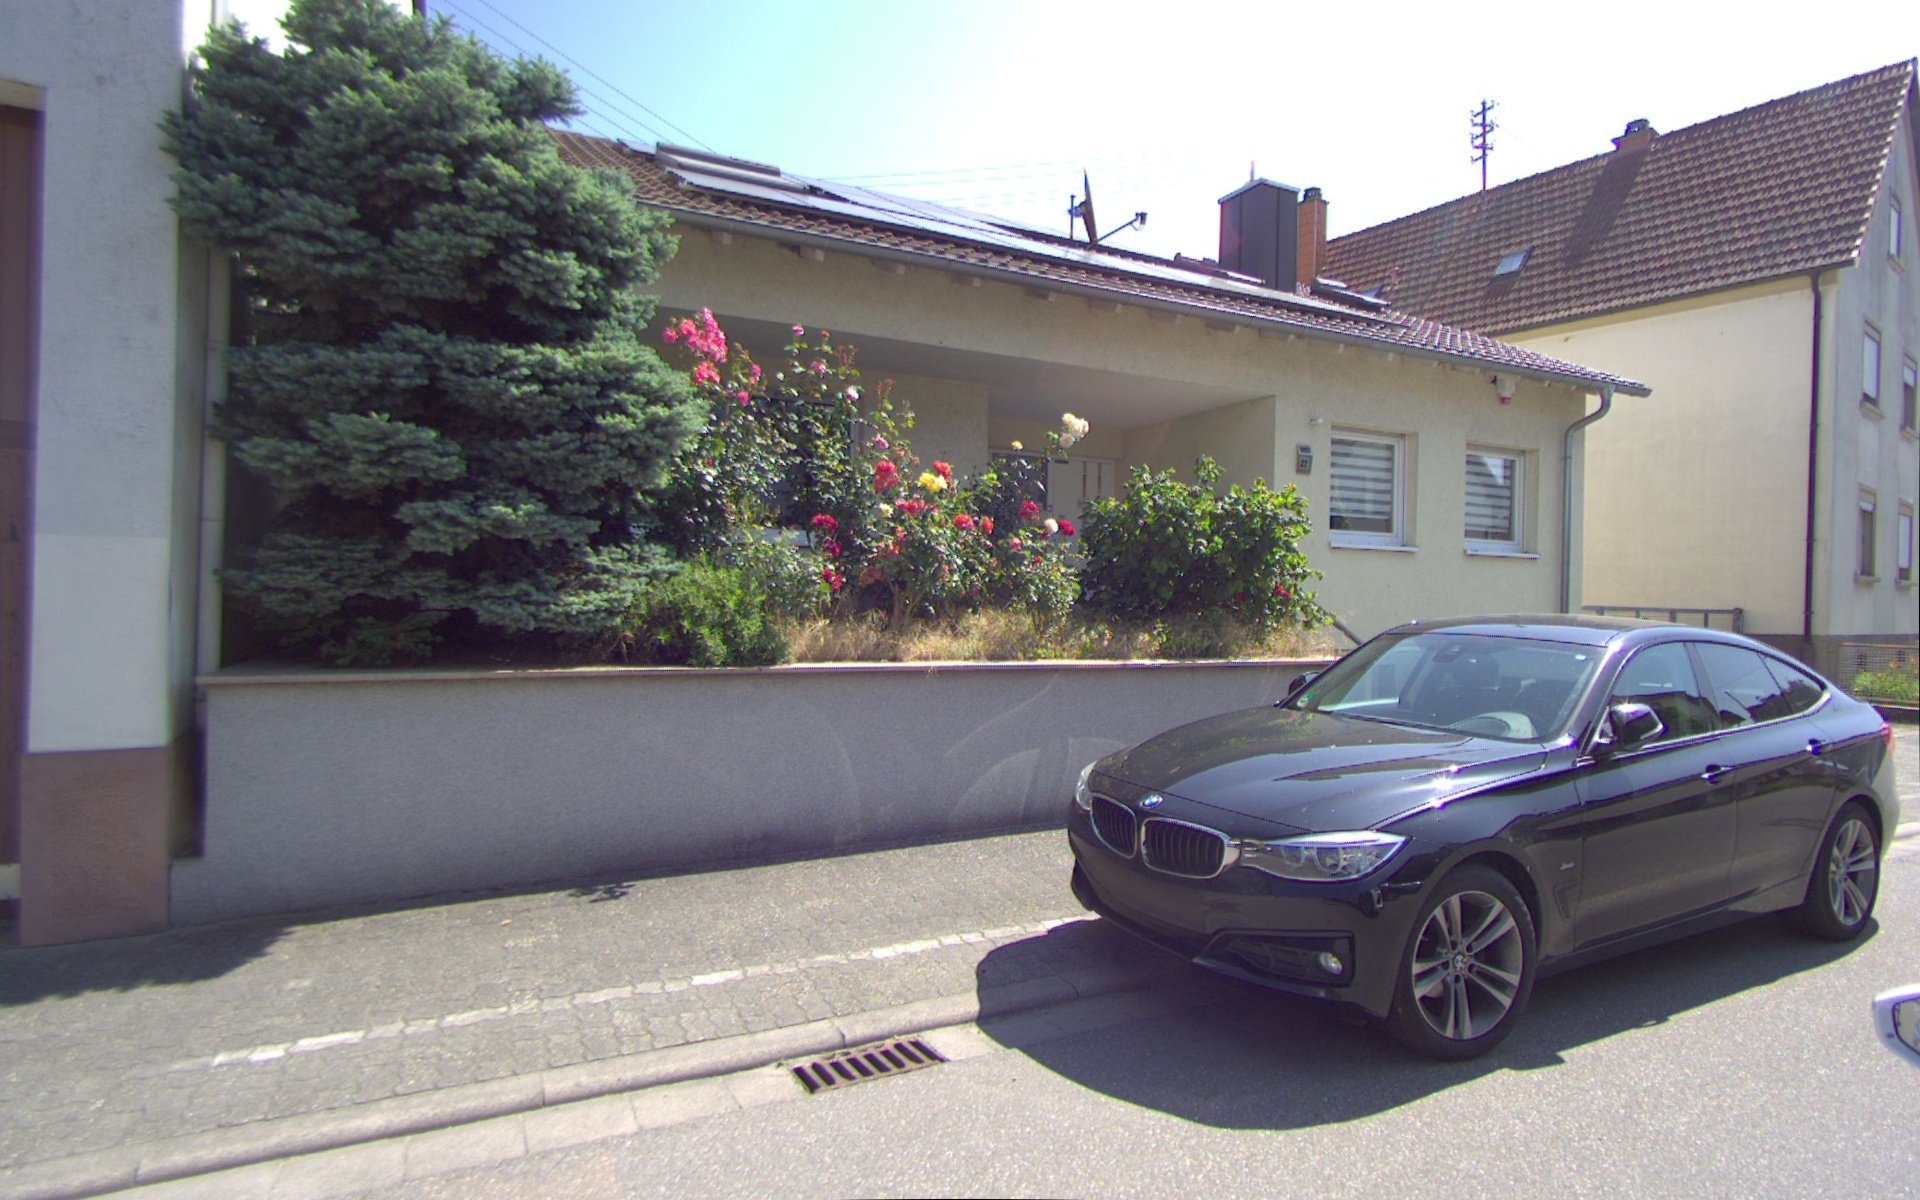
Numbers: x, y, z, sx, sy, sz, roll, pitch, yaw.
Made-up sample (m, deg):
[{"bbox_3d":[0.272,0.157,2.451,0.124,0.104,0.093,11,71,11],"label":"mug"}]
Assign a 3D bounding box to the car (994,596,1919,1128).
[{"bbox_3d":[2.660,0.811,4.881,4.706,1.547,1.837,1,0,-28],"label":"car"}]
